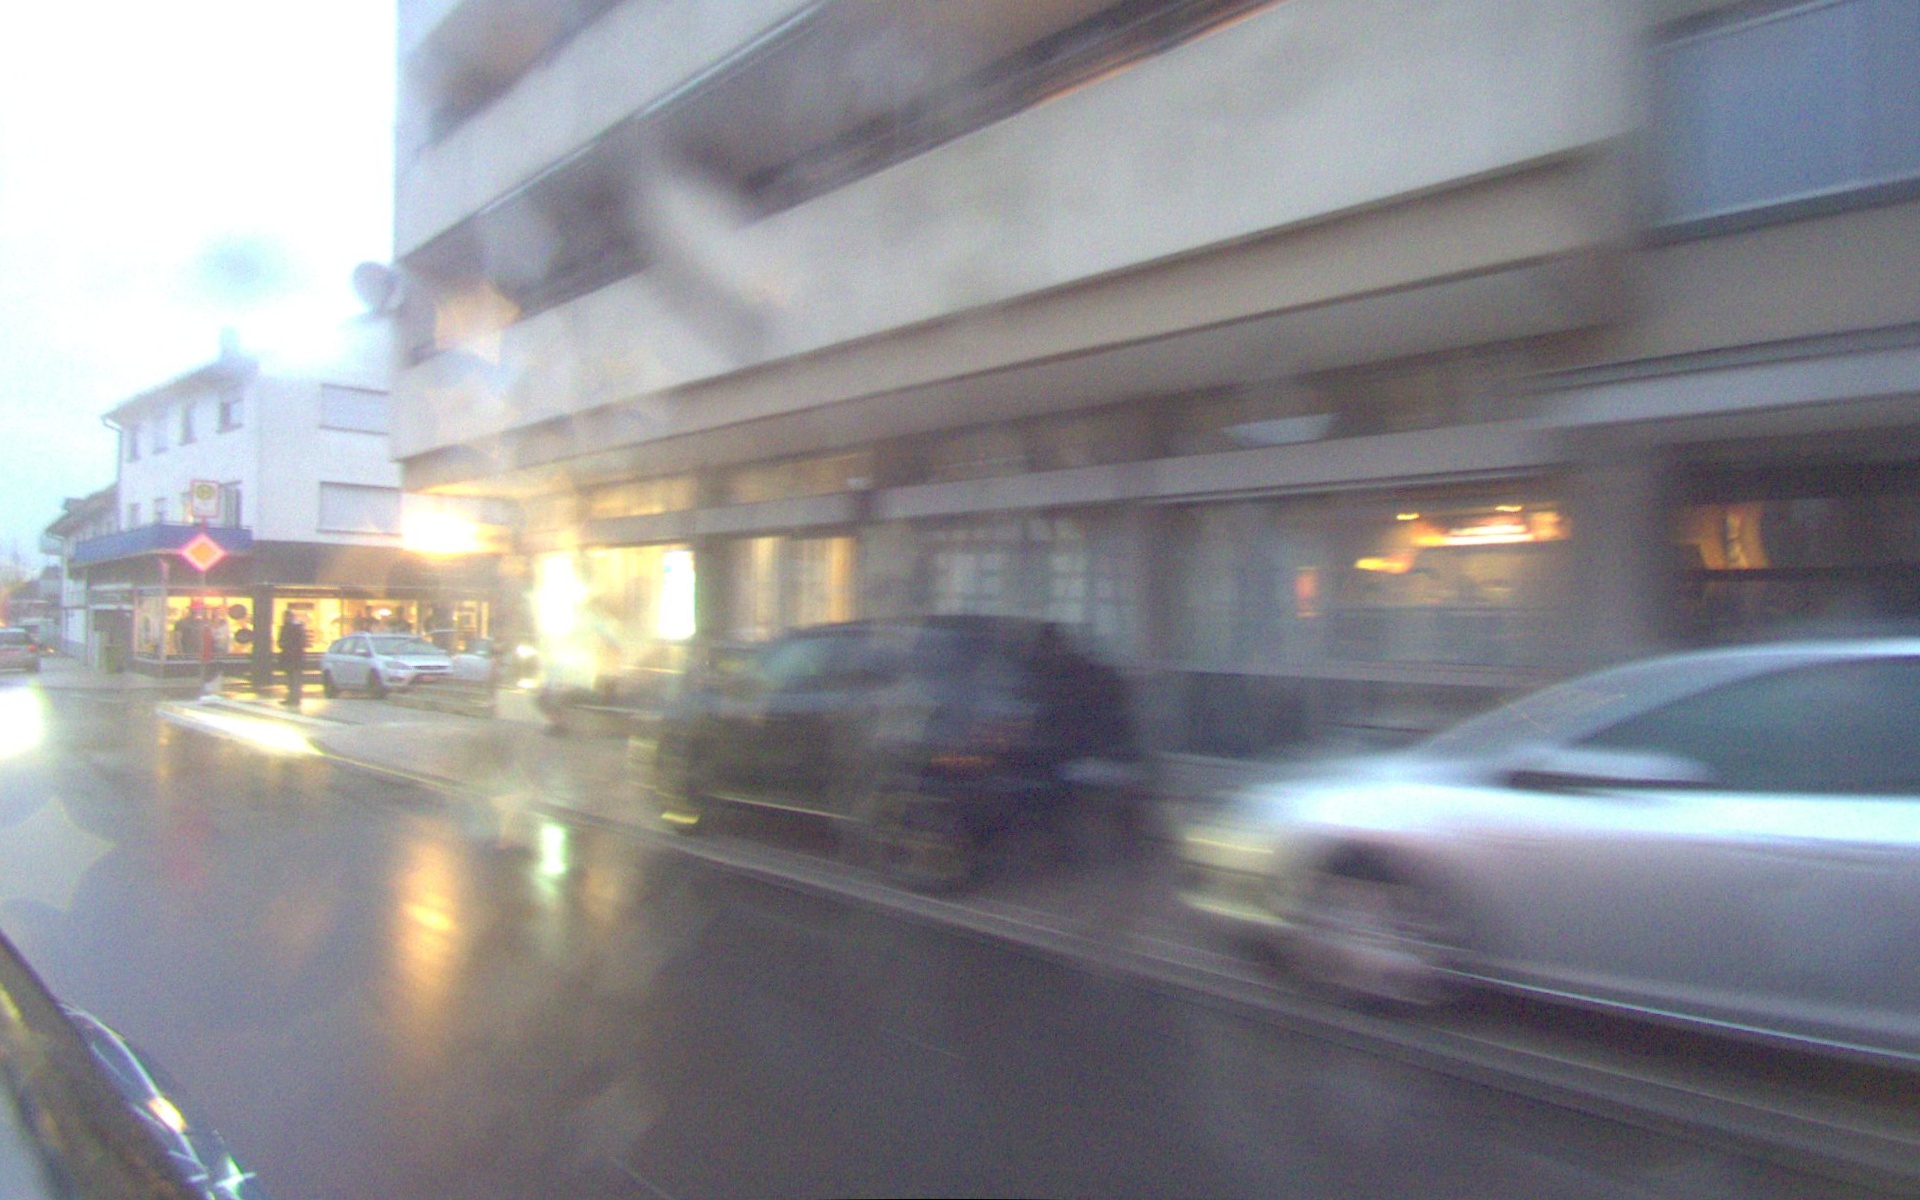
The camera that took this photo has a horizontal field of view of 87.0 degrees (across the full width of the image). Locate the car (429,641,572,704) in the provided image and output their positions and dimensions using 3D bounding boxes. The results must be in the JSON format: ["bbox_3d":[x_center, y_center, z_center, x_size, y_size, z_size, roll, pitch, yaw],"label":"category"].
[{"bbox_3d":[-11.490,1.792,25.174,4.450,1.411,1.679,-4,-4,43],"label":"car"}]

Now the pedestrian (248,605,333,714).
[{"bbox_3d":[-12.438,1.082,18.805,1.183,1.953,0.978,1,-3,-41],"label":"pedestrian"}]

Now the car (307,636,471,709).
[{"bbox_3d":[-13.167,1.658,23.232,4.444,1.511,1.746,-4,-4,39],"label":"car"}]

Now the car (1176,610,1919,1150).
[{"bbox_3d":[3.142,0.785,3.480,4.424,1.457,1.658,-2,0,40],"label":"car"}]

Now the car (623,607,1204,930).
[{"bbox_3d":[-0.525,0.871,6.860,3.927,1.544,1.598,-2,0,42],"label":"car"}]

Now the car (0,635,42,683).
[{"bbox_3d":[-34.813,2.138,36.844,3.815,1.626,1.702,-2,0,43],"label":"car"}]

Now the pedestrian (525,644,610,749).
[{"bbox_3d":[-5.284,1.271,13.616,0.827,1.320,0.748,-2,-1,40],"label":"pedestrian"}]

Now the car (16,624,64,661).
[{"bbox_3d":[-70.841,3.231,77.970,2.014,2.679,4.221,-2,-1,-33],"label":"car"}]
